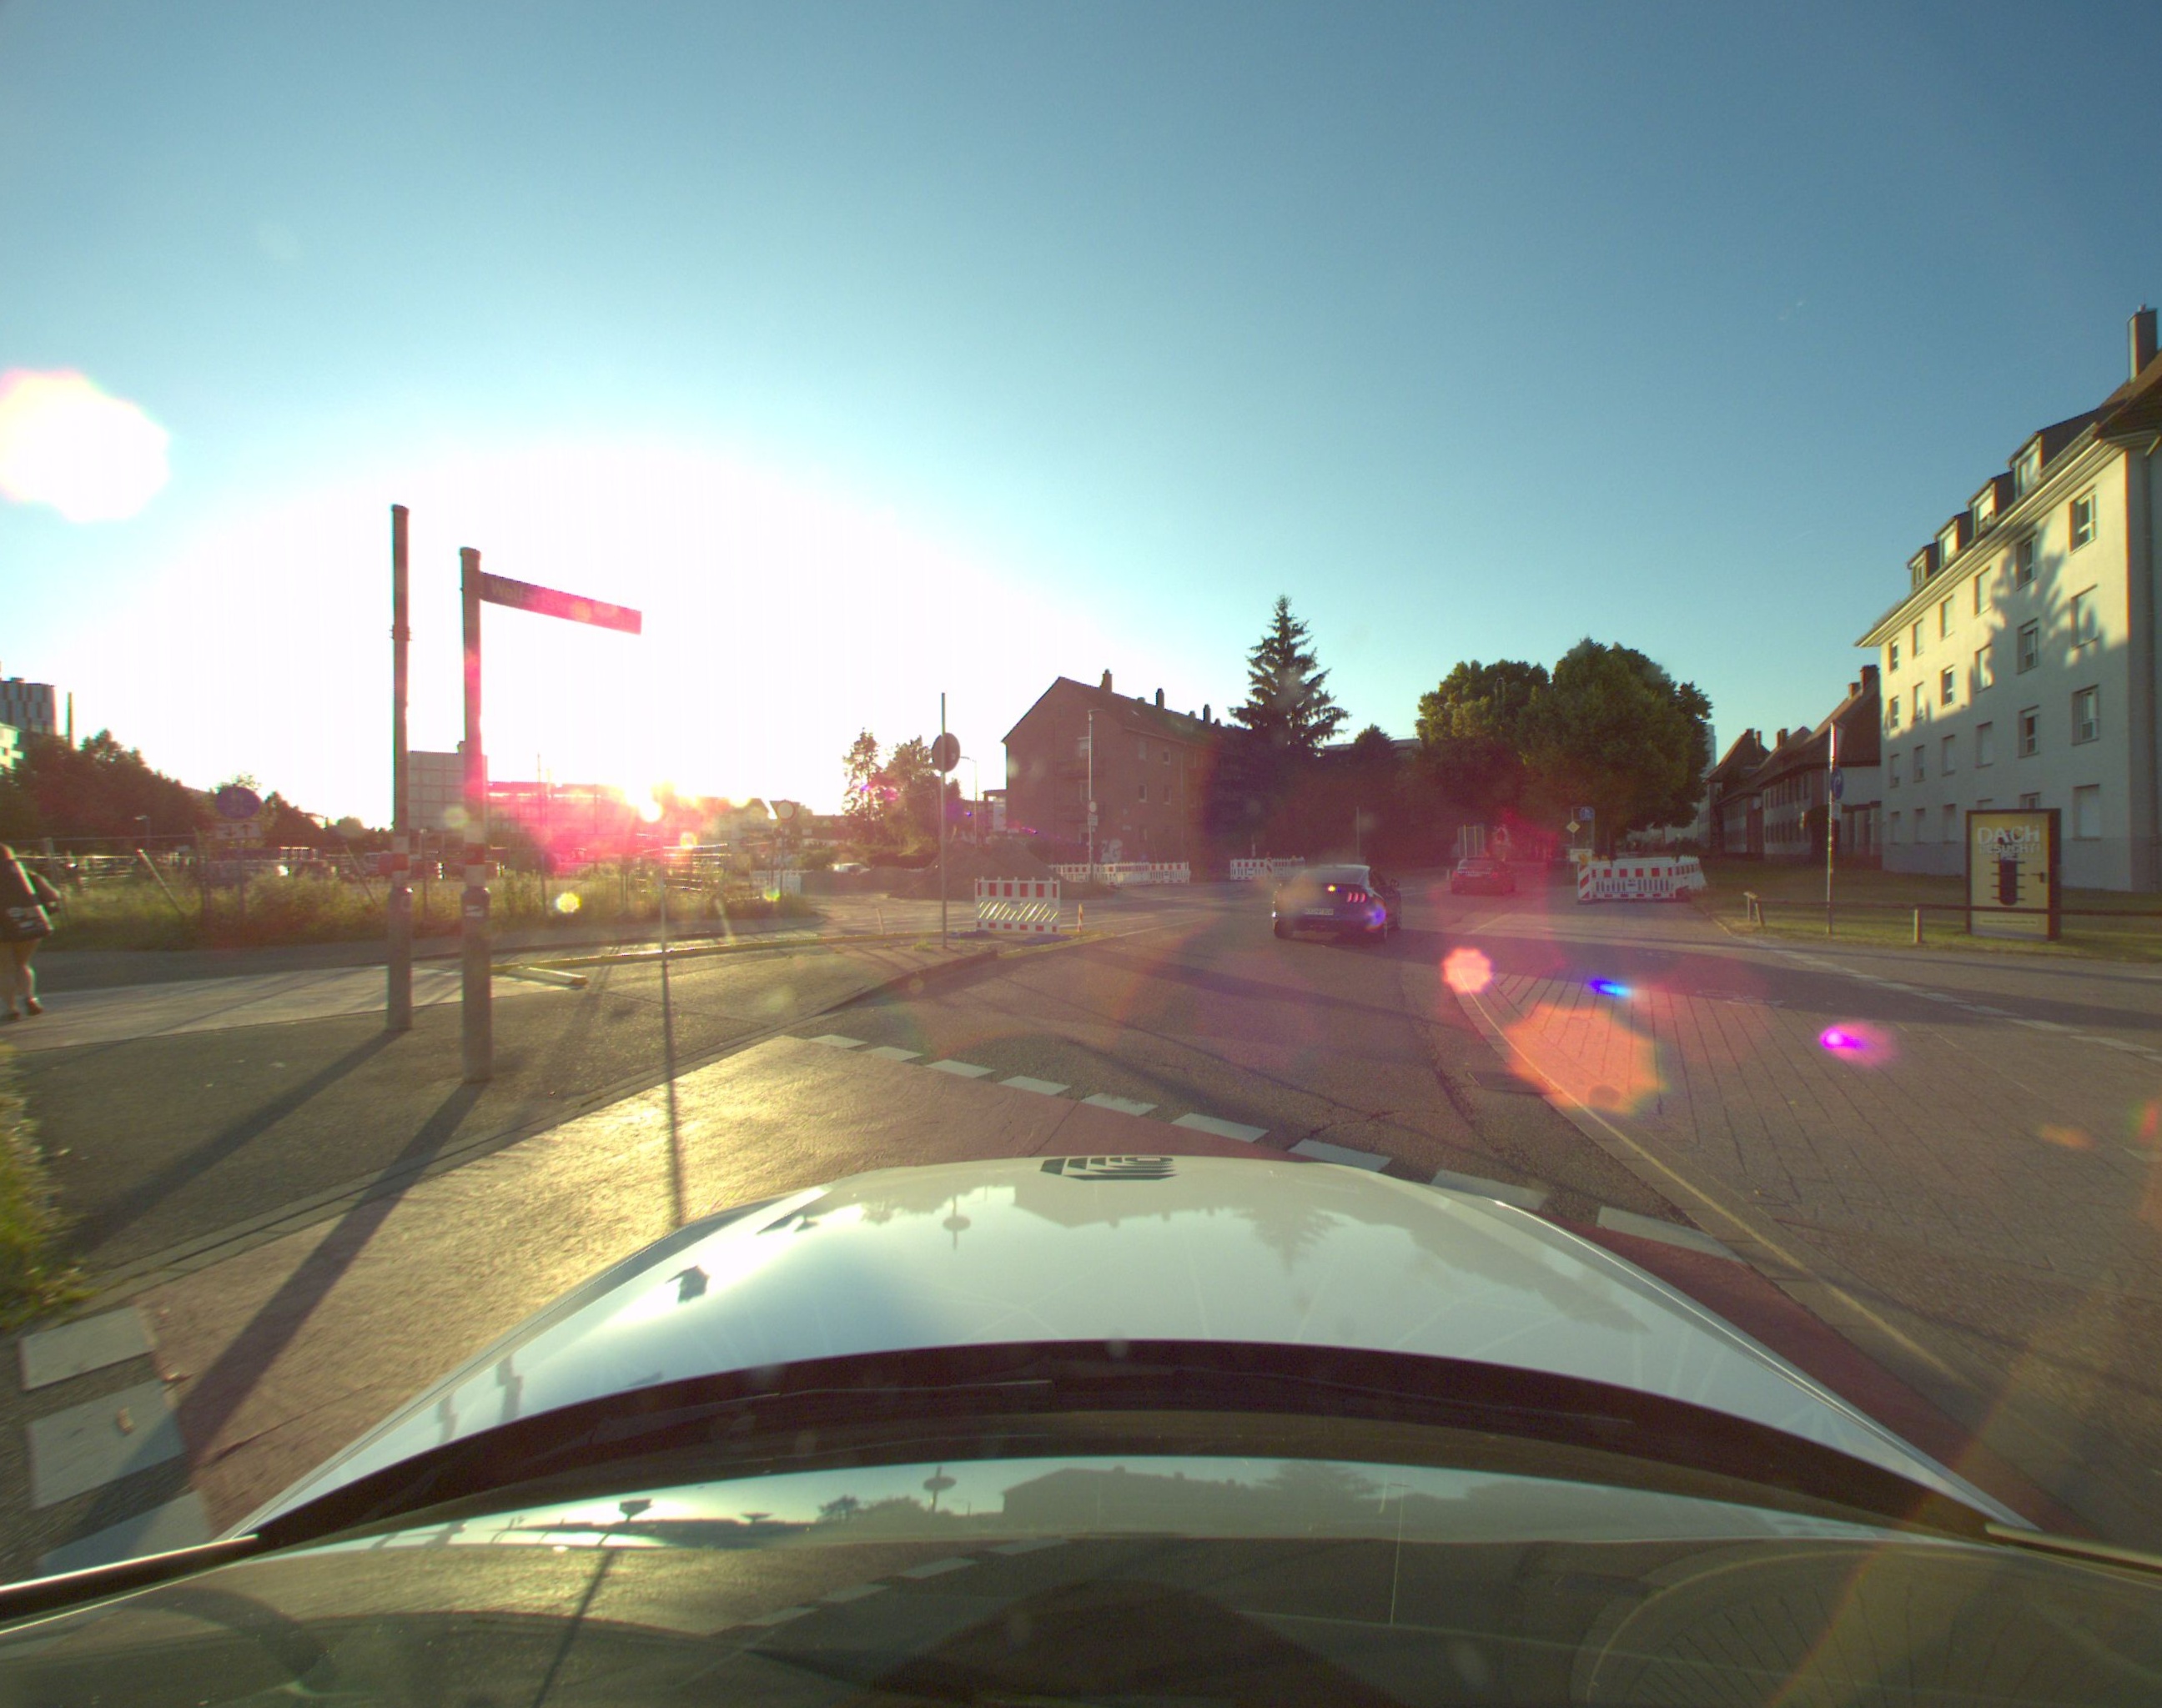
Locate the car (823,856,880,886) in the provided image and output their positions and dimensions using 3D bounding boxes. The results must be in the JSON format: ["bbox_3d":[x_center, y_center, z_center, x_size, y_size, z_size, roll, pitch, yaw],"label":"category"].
[{"bbox_3d":[-13.959,0.985,49.425,2.010,1.706,3.954,0,0,-39],"label":"car"}]

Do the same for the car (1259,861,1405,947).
[{"bbox_3d":[4.950,0.825,15.576,1.933,1.342,4.698,0,0,26],"label":"car"}]

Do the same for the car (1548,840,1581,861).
[{"bbox_3d":[39.587,-0.295,66.608,1.932,1.571,4.458,1,2,35],"label":"car"}]

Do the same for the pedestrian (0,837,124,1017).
[{"bbox_3d":[-10.419,0.686,8.133,0.877,1.686,0.850,0,0,19],"label":"pedestrian"}]

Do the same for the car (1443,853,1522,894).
[{"bbox_3d":[15.724,0.711,31.761,1.932,1.427,4.458,1,1,37],"label":"car"}]
